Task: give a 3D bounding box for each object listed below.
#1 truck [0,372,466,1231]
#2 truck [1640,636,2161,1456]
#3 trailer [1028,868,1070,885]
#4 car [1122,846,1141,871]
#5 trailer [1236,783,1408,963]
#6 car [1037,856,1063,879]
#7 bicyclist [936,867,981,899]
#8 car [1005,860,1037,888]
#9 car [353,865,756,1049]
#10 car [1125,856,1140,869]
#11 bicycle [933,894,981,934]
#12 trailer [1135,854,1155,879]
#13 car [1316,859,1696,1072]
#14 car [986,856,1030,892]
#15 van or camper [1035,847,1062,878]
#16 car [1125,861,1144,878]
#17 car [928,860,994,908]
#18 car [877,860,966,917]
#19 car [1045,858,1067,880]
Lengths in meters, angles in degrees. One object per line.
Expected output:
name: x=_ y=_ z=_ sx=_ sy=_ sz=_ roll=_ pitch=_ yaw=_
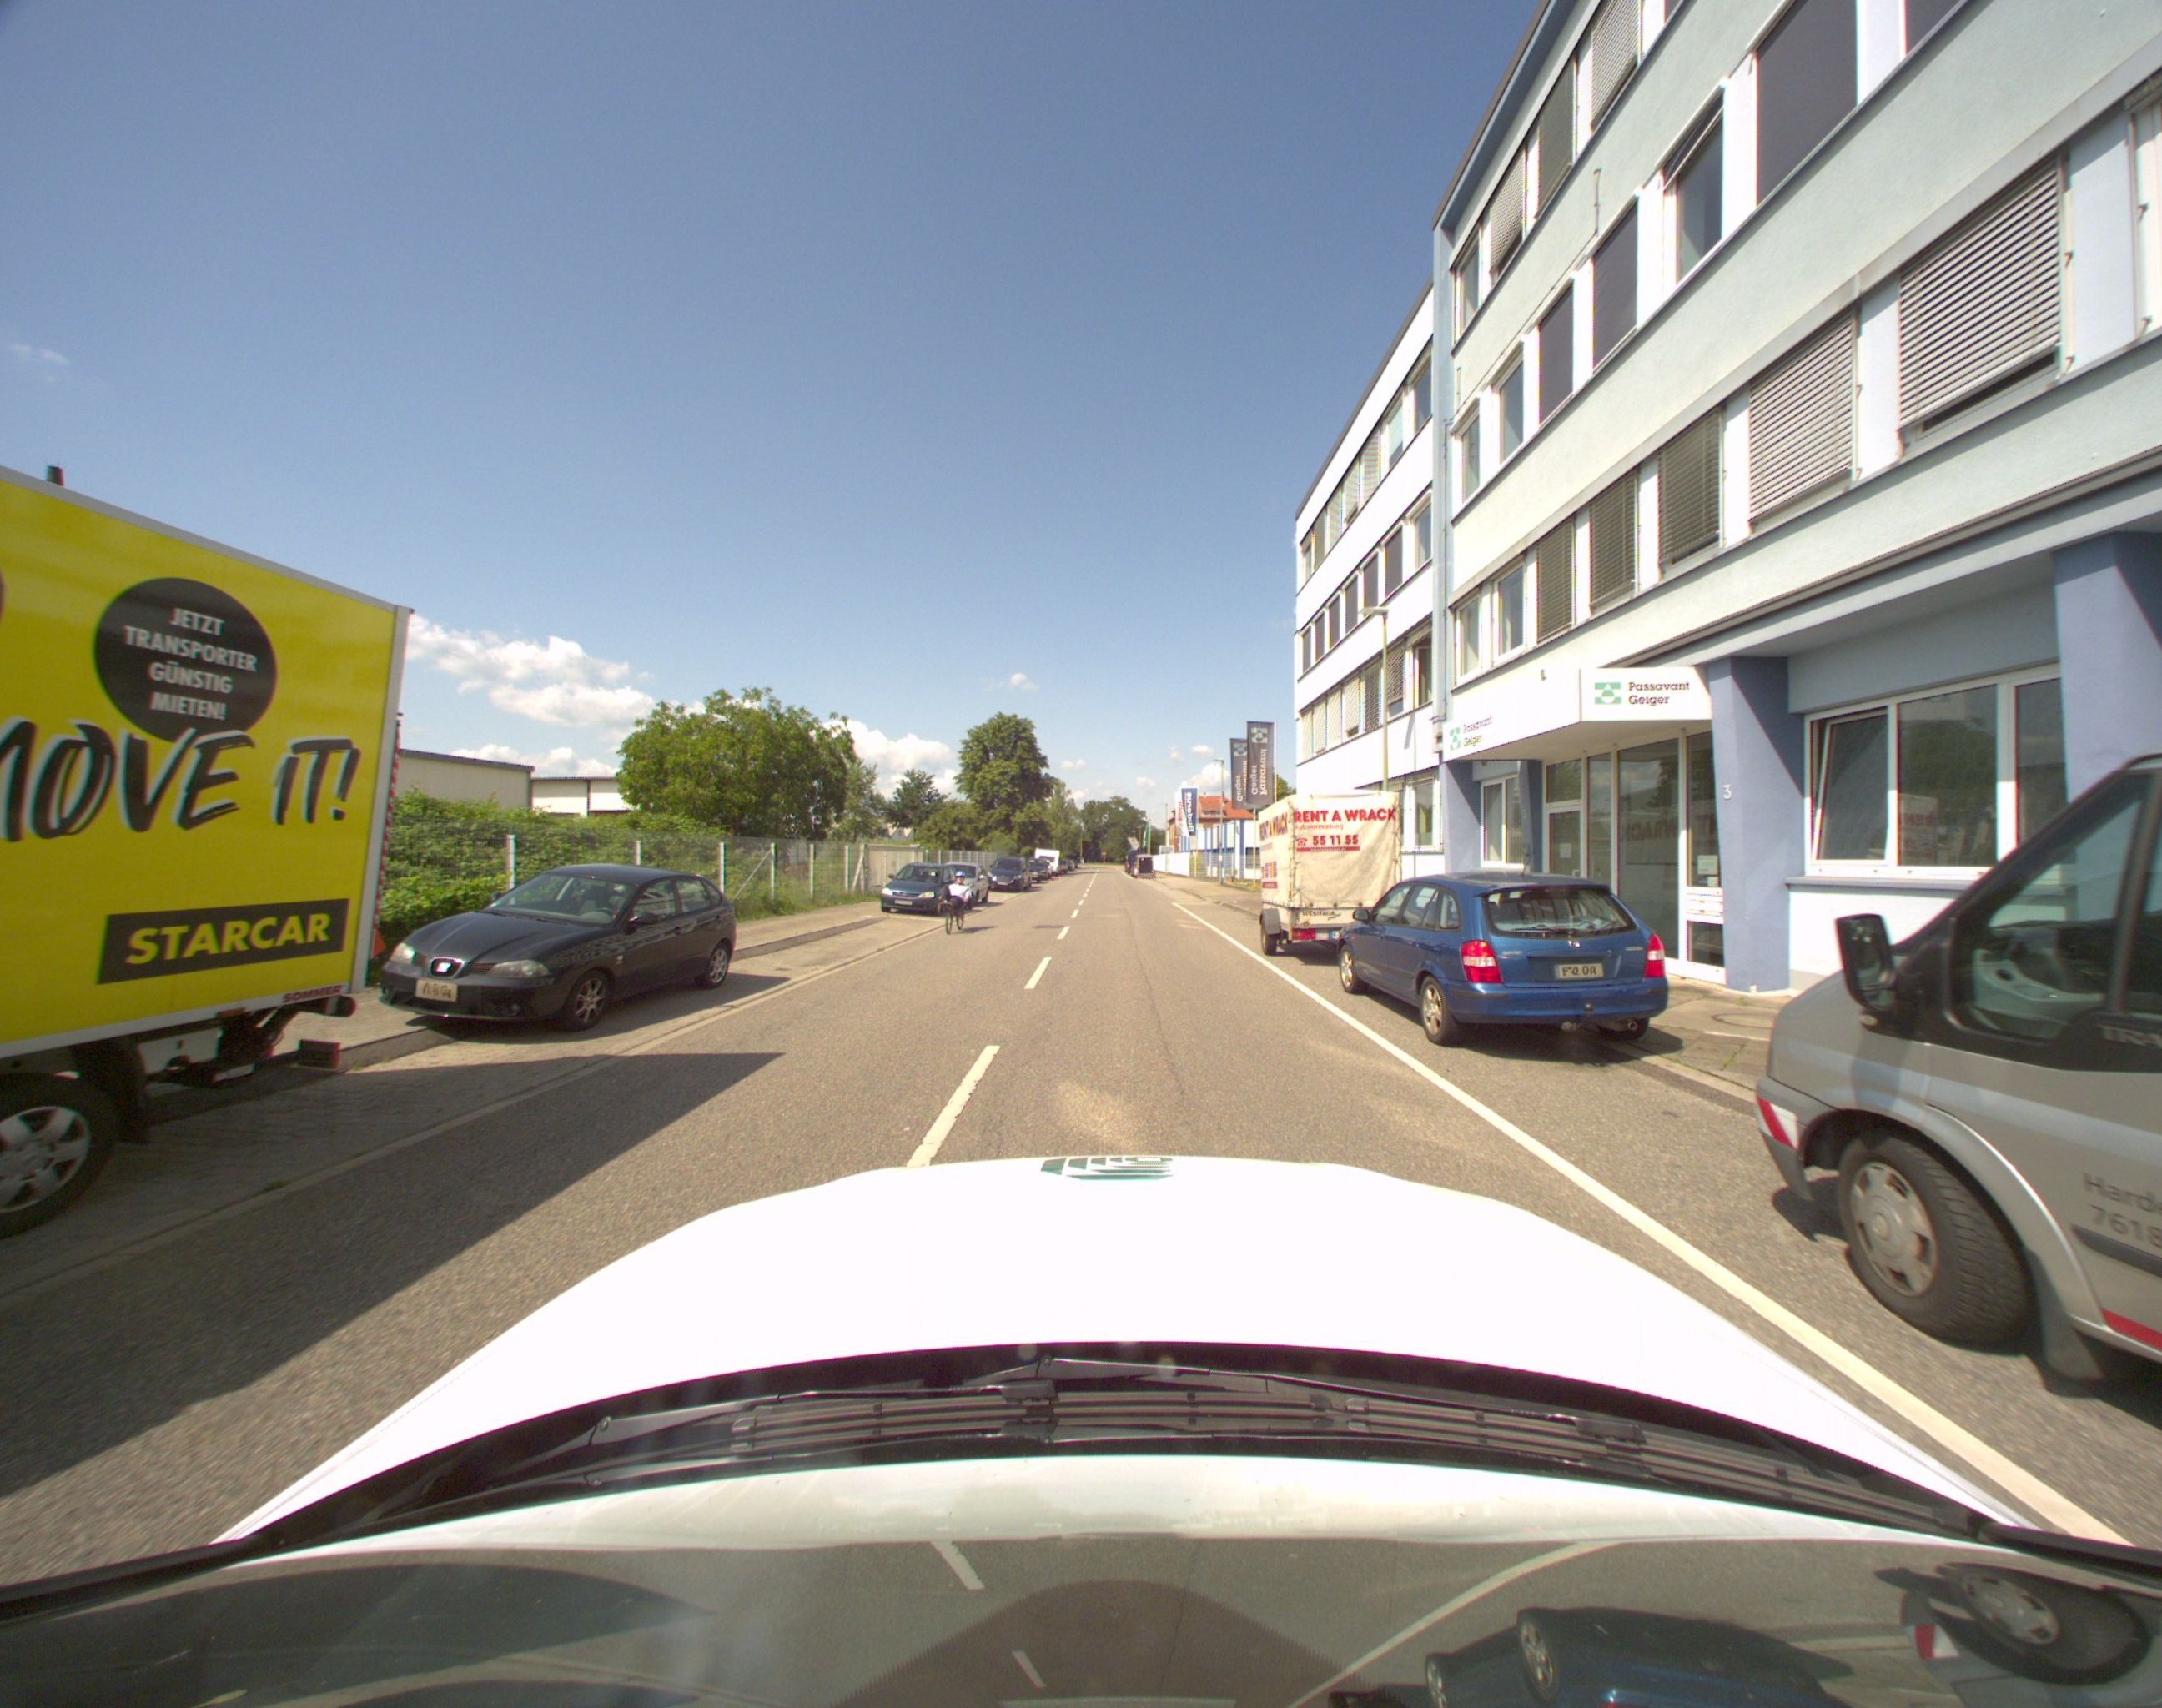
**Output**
truck: x=-5.376 y=-0.240 z=1.916 sx=2.242 sy=3.361 sz=6.908 roll=5 pitch=0 yaw=1
truck: x=3.651 y=0.477 z=1.602 sx=1.957 sy=2.035 sz=4.735 roll=0 pitch=0 yaw=1
trailer: x=-2.136 y=1.557 z=56.737 sx=2.262 sy=0.883 sz=7.137 roll=5 pitch=0 yaw=3
car: x=5.757 y=0.525 z=93.300 sx=1.930 sy=2.748 sz=6.156 roll=0 pitch=0 yaw=1
trailer: x=3.915 y=0.277 z=14.142 sx=1.860 sy=2.553 sz=5.078 roll=0 pitch=0 yaw=4
car: x=-2.427 y=1.035 z=65.072 sx=1.820 sy=1.793 sz=4.736 roll=0 pitch=0 yaw=1
bicyclist: x=-2.703 y=0.624 z=18.137 sx=0.563 sy=0.631 sz=1.860 roll=1 pitch=0 yaw=5
car: x=-3.465 y=1.129 z=47.422 sx=1.572 sy=1.513 sz=4.200 roll=1 pitch=-1 yaw=0
car: x=-5.197 y=0.887 z=8.766 sx=1.612 sy=1.430 sz=3.829 roll=3 pitch=0 yaw=3
car: x=6.704 y=1.079 z=105.684 sx=1.818 sy=1.664 sz=4.558 roll=0 pitch=0 yaw=2
bicycle: x=-2.728 y=1.317 z=18.137 sx=0.585 sy=0.741 sz=2.127 roll=0 pitch=0 yaw=4
trailer: x=5.451 y=1.048 z=69.593 sx=1.596 sy=2.037 sz=2.741 roll=1 pitch=-1 yaw=1
car: x=3.793 y=0.849 z=8.263 sx=1.711 sy=1.542 sz=4.405 roll=1 pitch=-1 yaw=2
car: x=-3.699 y=0.988 z=41.982 sx=1.795 sy=1.750 sz=4.714 roll=0 pitch=0 yaw=1
van or camper: x=-3.157 y=0.798 z=80.286 sx=2.255 sy=2.803 sz=6.832 roll=4 pitch=-1 yaw=0
car: x=4.941 y=1.407 z=76.027 sx=1.566 sy=1.507 sz=4.133 roll=0 pitch=-1 yaw=1
car: x=-4.168 y=1.005 z=28.812 sx=1.609 sy=1.483 sz=3.711 roll=2 pitch=0 yaw=2
car: x=-4.591 y=0.947 z=23.966 sx=1.562 sy=1.399 sz=3.802 roll=5 pitch=0 yaw=3
car: x=-2.192 y=1.296 z=71.567 sx=1.679 sy=1.692 sz=4.442 roll=4 pitch=0 yaw=-2
